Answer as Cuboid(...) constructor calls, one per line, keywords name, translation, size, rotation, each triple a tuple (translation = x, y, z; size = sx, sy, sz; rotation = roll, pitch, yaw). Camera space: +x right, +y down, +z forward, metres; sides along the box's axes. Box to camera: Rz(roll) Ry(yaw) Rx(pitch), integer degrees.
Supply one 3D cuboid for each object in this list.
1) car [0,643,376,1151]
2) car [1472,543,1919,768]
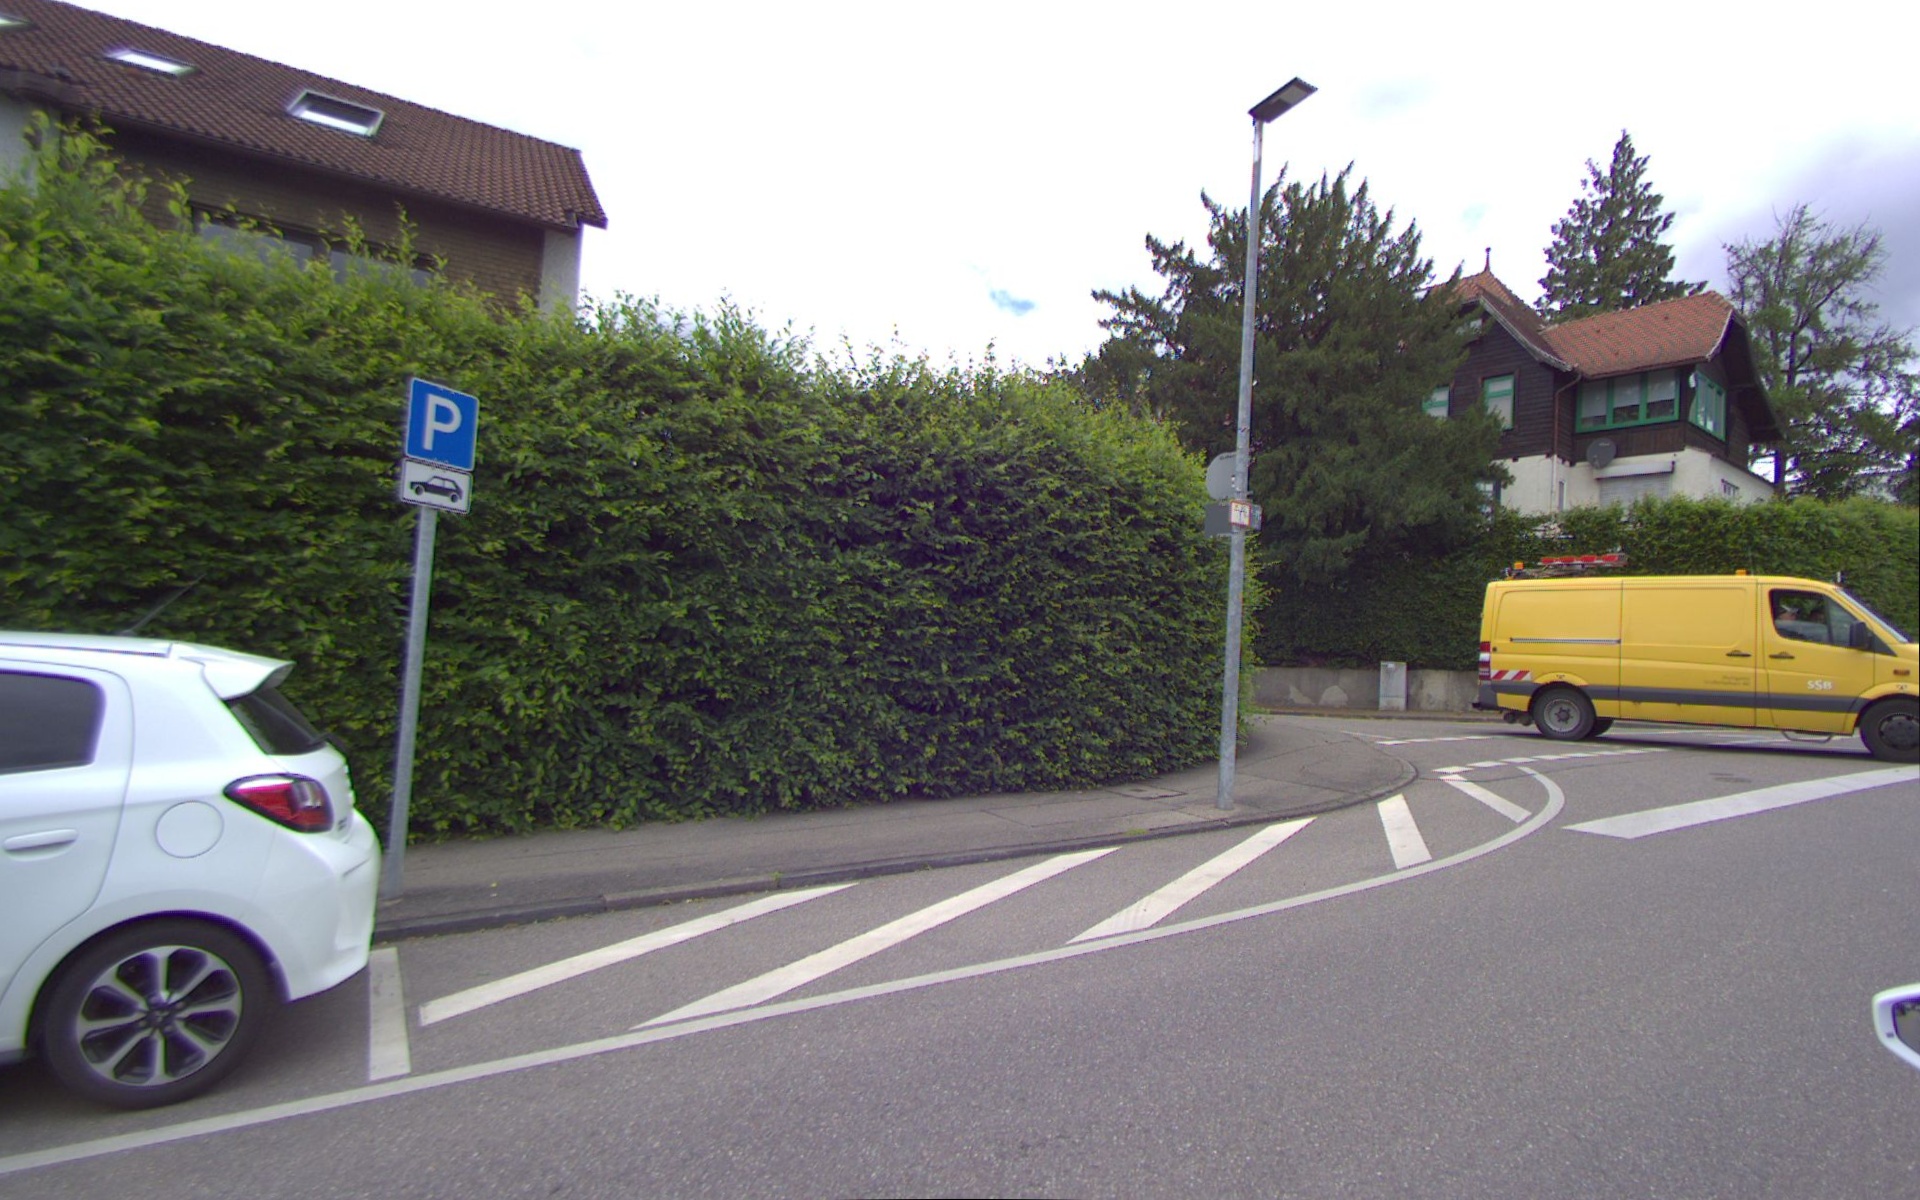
Cuboid(name="car", translation=(-3.913, 0.877, 3.164), size=(3.537, 1.438, 1.682), rotation=(1, -4, -30))
Cuboid(name="car", translation=(10.667, 0.716, 13.844), size=(6.053, 2.635, 2.356), rotation=(-1, -2, 41))
